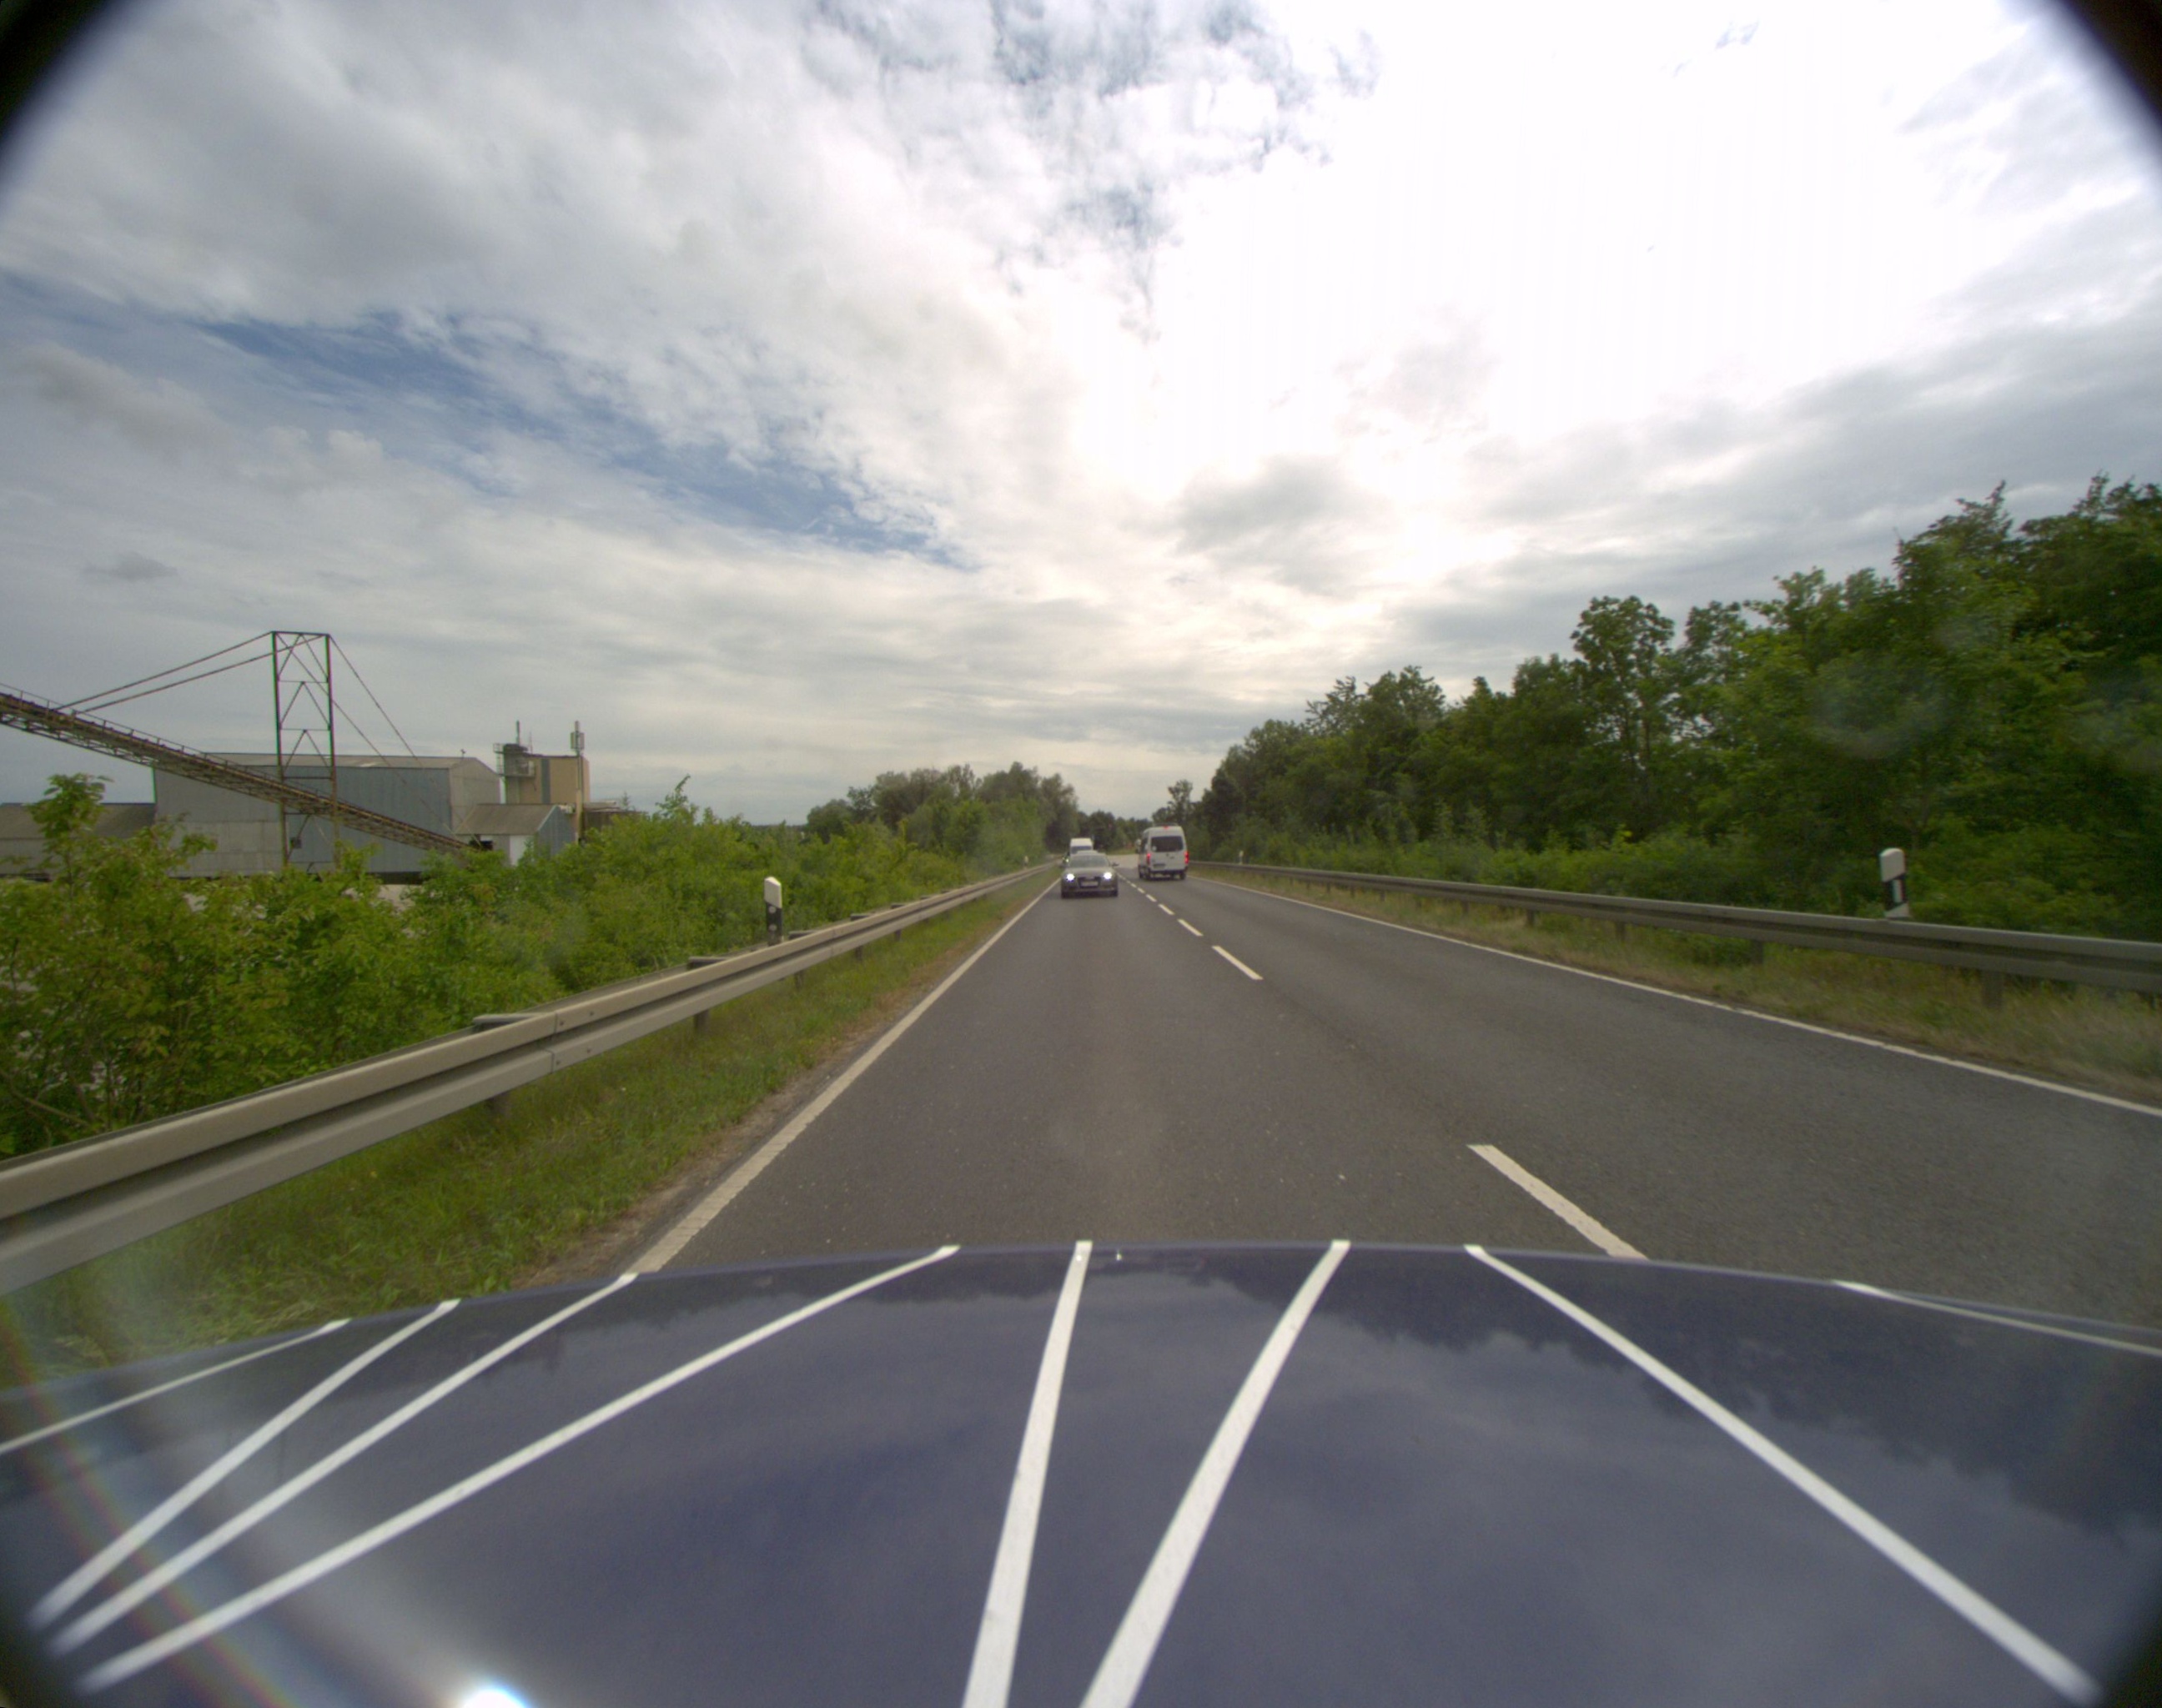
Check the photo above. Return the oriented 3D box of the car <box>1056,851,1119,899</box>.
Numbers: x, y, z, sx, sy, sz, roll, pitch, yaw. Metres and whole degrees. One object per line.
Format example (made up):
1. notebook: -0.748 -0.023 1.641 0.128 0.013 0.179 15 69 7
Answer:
1. car: 0.313 0.668 26.523 1.964 1.446 4.797 -2 0 2

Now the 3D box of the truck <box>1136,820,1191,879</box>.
1. truck: 4.182 -0.250 39.666 2.070 2.727 7.006 -3 1 1

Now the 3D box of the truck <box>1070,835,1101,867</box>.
1. truck: 0.316 -0.291 65.391 2.379 2.579 5.996 1 1 -2
